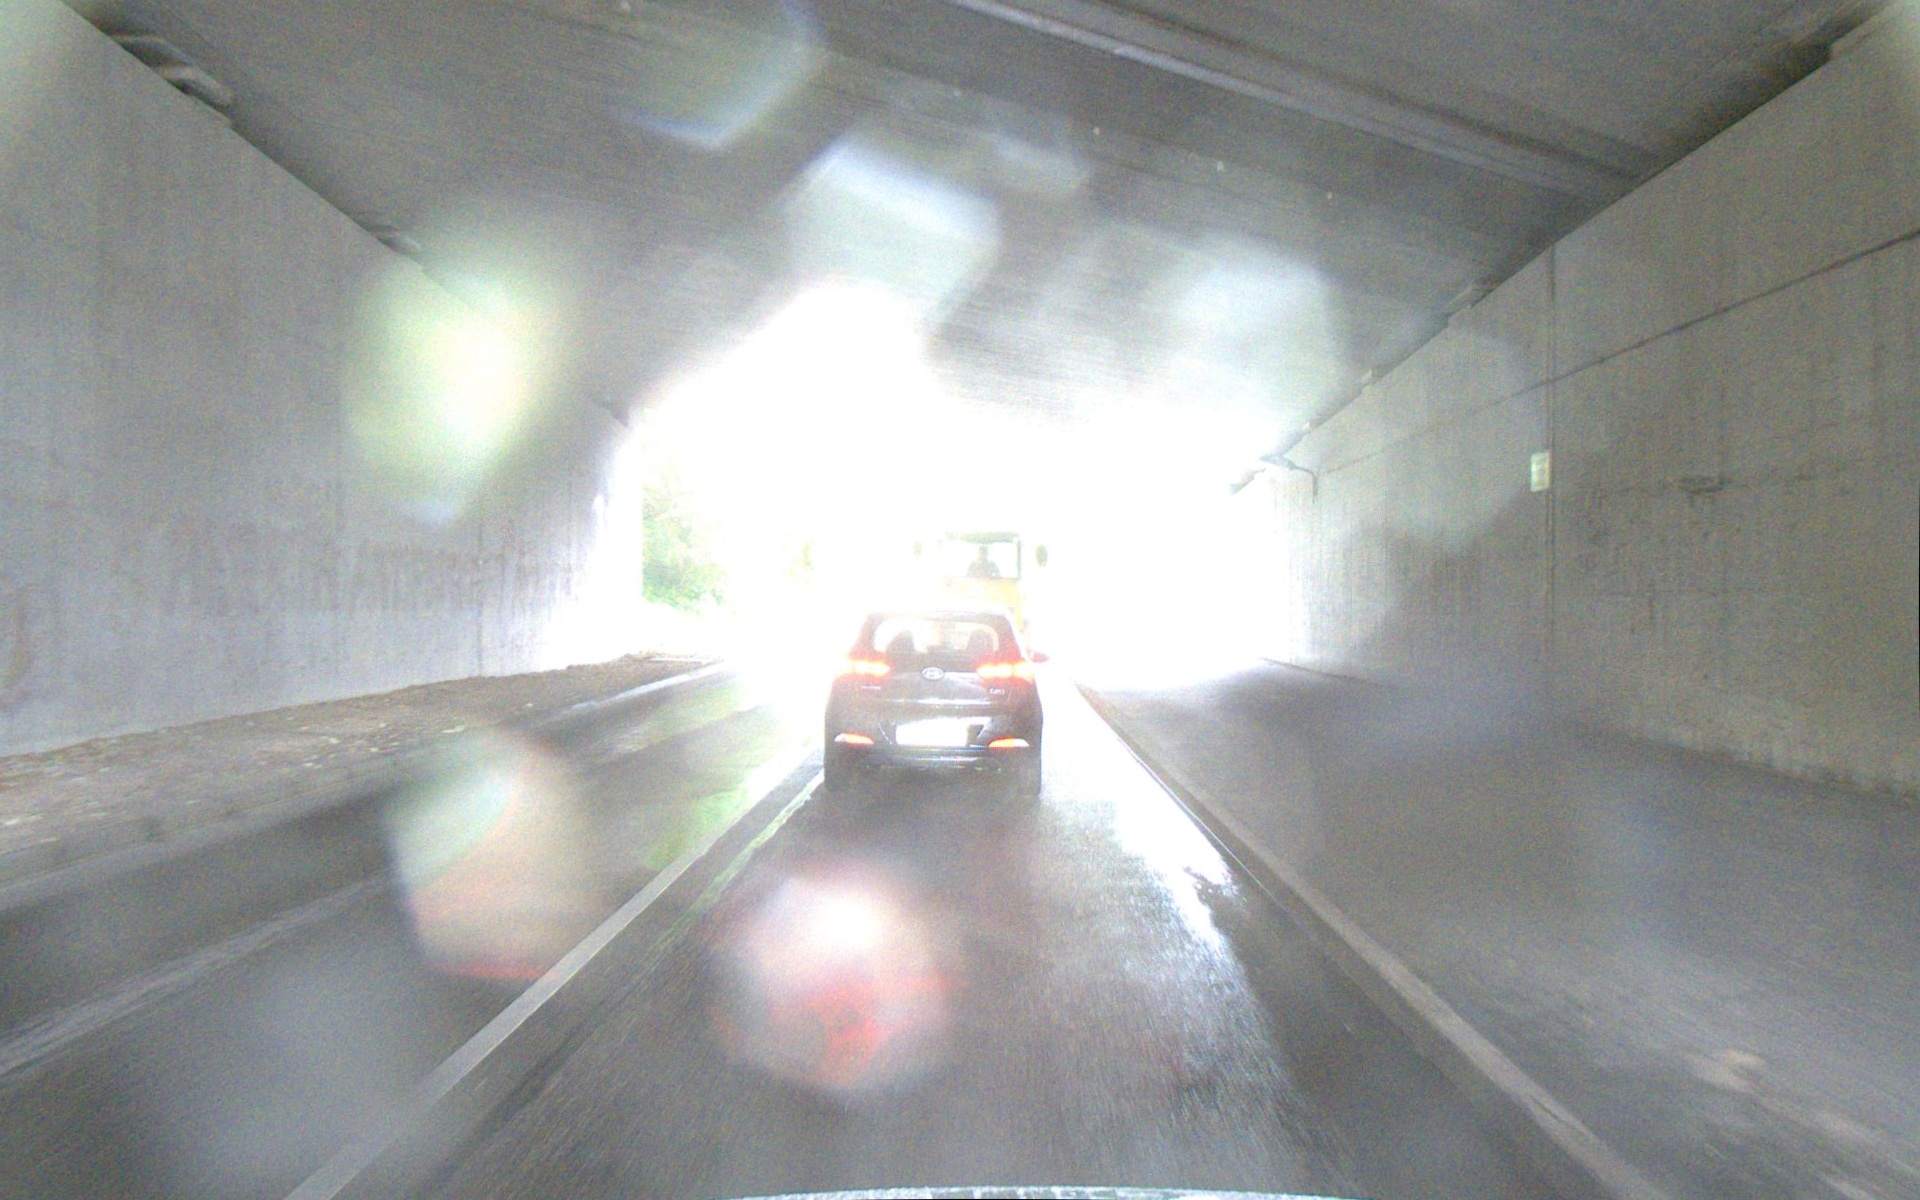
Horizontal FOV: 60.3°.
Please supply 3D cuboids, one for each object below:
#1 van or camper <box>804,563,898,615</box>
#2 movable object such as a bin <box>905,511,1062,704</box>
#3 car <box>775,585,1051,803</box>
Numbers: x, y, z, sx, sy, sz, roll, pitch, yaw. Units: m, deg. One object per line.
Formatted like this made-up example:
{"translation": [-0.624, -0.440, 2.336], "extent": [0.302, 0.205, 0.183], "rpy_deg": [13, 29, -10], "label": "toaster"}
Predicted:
{"translation": [-4.789, -0.491, 72.050], "extent": [1.976, 2.135, 4.636], "rpy_deg": [2, 0, -34], "label": "van or camper"}
{"translation": [0.334, 0.100, 27.320], "extent": [2.200, 2.716, 6.626], "rpy_deg": [2, 0, 0], "label": "movable object such as a bin"}
{"translation": [-0.420, 0.677, 13.981], "extent": [1.954, 1.513, 3.998], "rpy_deg": [2, 0, -3], "label": "car"}
